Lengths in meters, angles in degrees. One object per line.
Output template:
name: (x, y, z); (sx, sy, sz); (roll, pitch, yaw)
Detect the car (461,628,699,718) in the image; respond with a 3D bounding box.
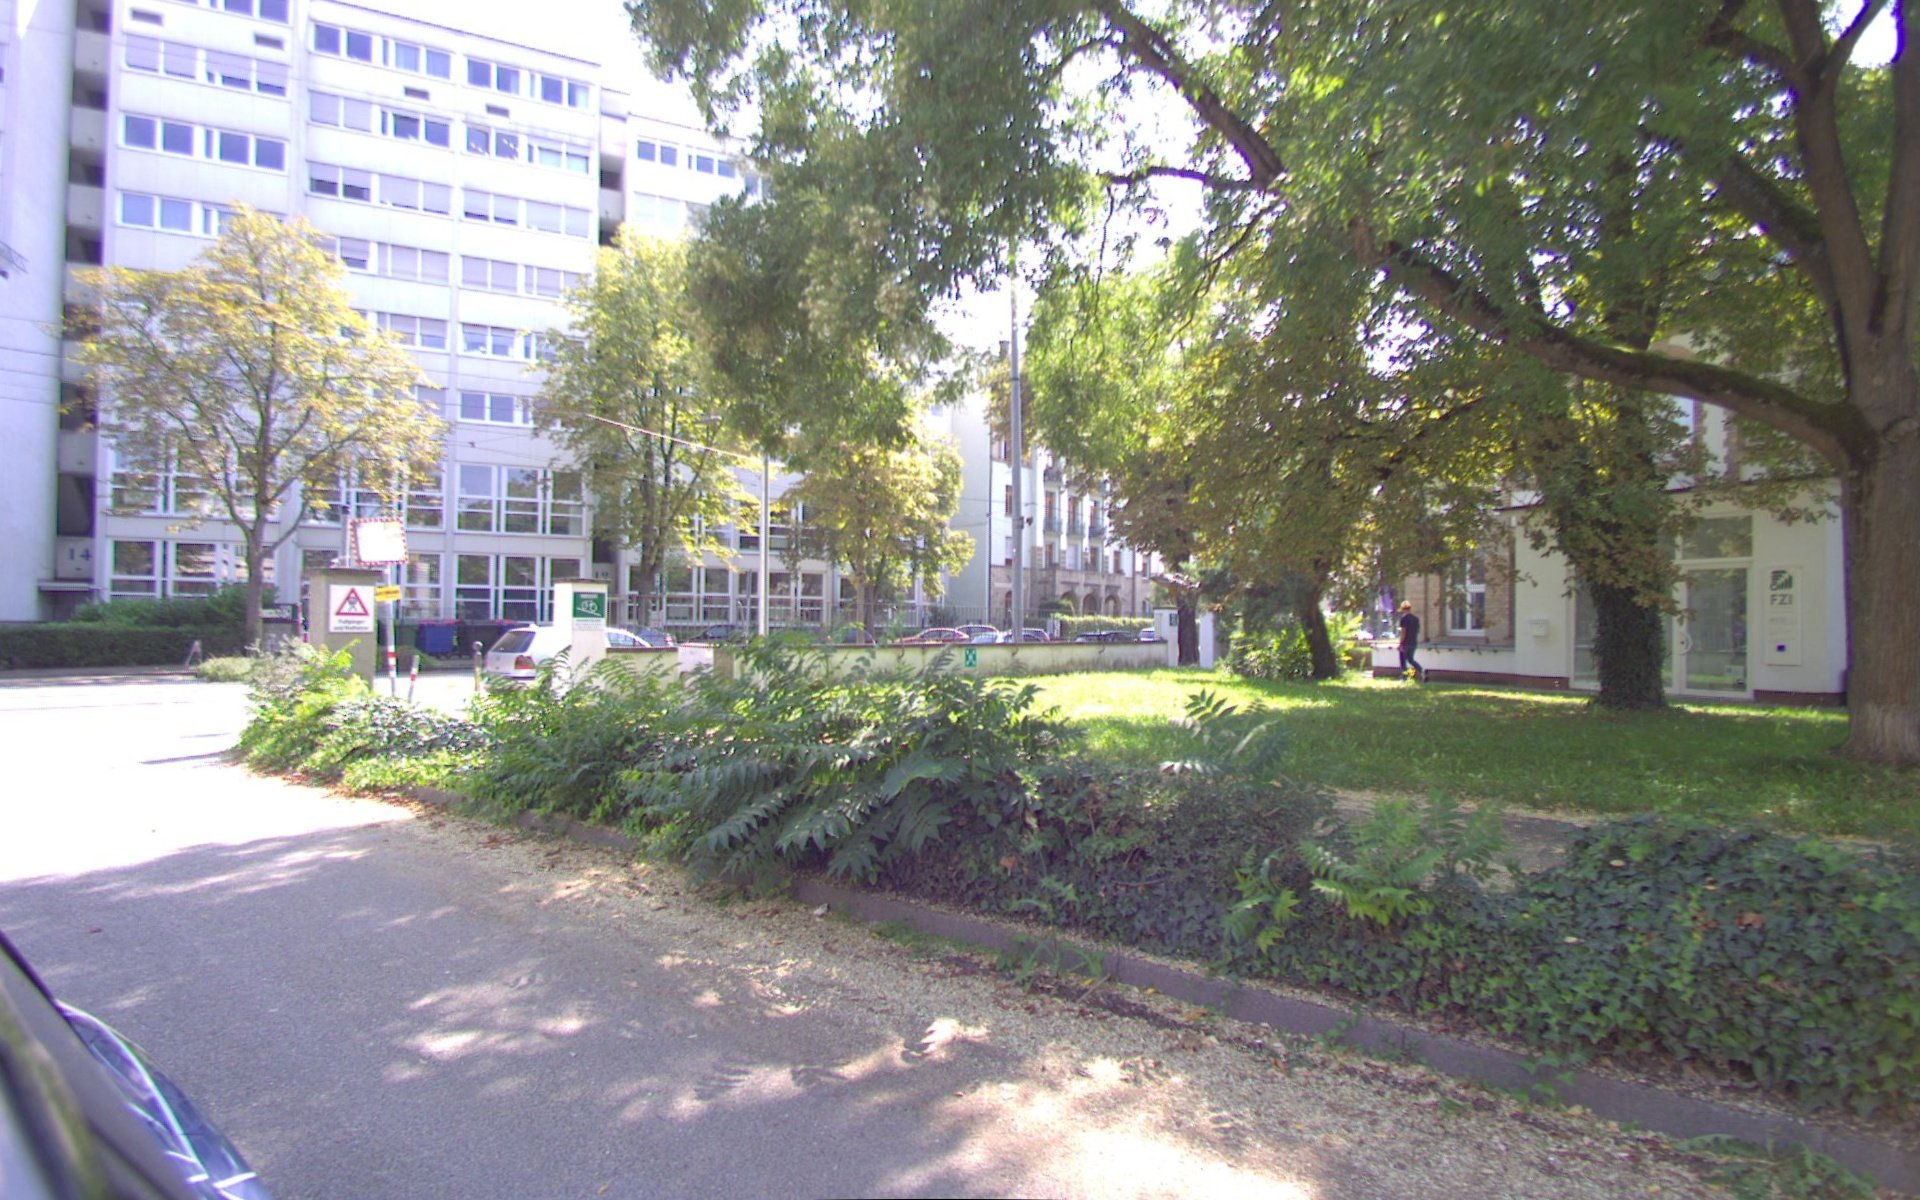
car: (-6.862, 1.277, 18.523); (1.796, 1.457, 3.682); (-2, -3, 40)

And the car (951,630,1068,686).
car: (1.508, 1.673, 29.704); (1.644, 1.523, 3.594); (0, -2, 38)

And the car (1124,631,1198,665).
car: (9.450, 2.211, 47.380); (1.823, 1.503, 3.967); (0, -1, 38)

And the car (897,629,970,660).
car: (-1.356, 2.258, 51.487); (3.616, 1.463, 1.678); (1, -2, -3)

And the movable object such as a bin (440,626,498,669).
movable object such as a bin: (-18.621, 1.796, 38.399); (1.685, 1.571, 1.337); (-1, -3, 37)

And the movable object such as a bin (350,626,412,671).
movable object such as a bin: (-20.541, 1.704, 35.889); (1.685, 1.571, 1.337); (-1, -3, 37)

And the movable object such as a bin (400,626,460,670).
movable object such as a bin: (-19.413, 1.747, 37.068); (1.685, 1.571, 1.337); (-1, -3, 37)

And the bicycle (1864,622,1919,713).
bicycle: (14.918, 1.010, 15.337); (2.482, 1.312, 0.774); (2, -2, -21)

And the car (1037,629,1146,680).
car: (4.454, 1.767, 33.910); (1.798, 1.589, 3.947); (-1, -2, 39)

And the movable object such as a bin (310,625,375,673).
movable object such as a bin: (-21.046, 1.653, 34.482); (1.685, 1.571, 1.337); (-1, -3, 37)

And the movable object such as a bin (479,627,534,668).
movable object such as a bin: (-17.719, 1.836, 39.544); (1.685, 1.571, 1.337); (-1, -3, 37)

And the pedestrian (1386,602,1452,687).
pedestrian: (10.180, 0.981, 22.482); (0.723, 1.842, 1.134); (1, -2, -23)
